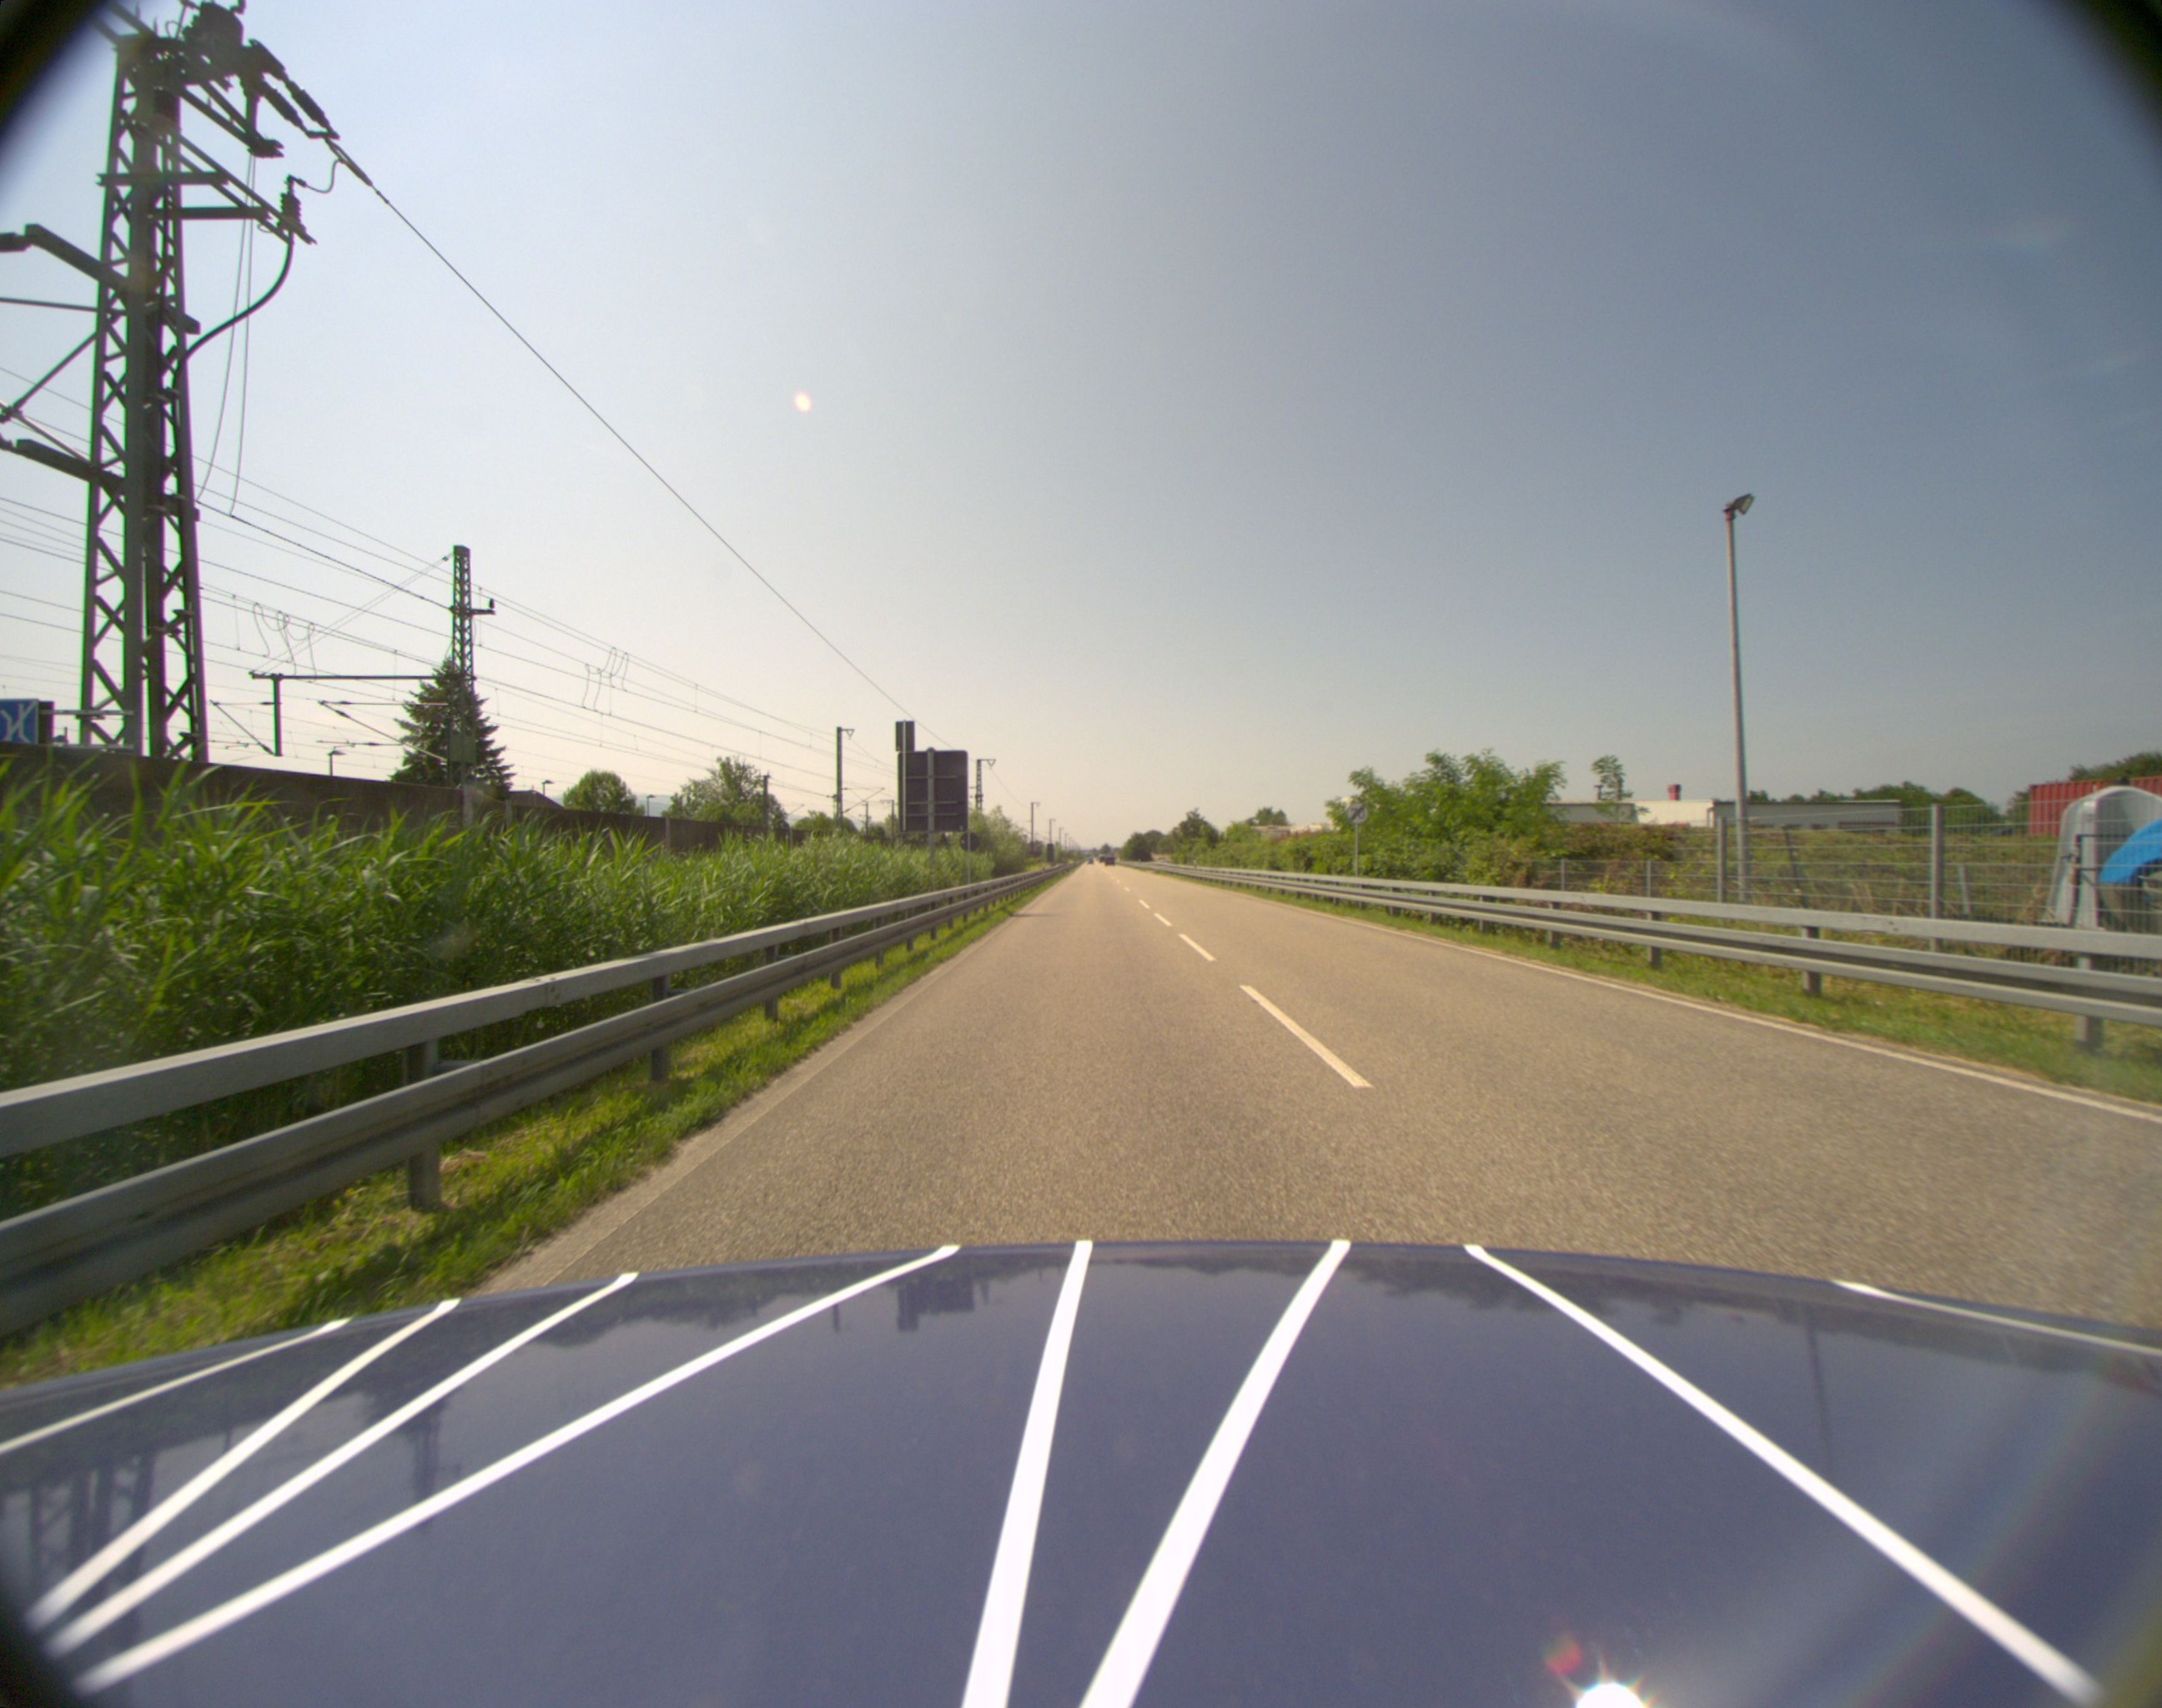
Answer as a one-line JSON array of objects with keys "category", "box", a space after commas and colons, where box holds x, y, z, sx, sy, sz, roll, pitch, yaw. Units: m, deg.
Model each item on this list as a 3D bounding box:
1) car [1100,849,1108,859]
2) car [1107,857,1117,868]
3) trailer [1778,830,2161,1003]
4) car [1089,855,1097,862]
[{"category": "car", "box": [6.917, -0.008, 229.837, 2.084, 2.945, 6.729, -2, 0, 1]}, {"category": "car", "box": [6.091, 1.664, 149.755, 1.898, 2.002, 5.369, -2, 0, 0]}, {"category": "trailer", "box": [13.617, 0.710, 9.967, 2.208, 1.992, 6.971, -2, 0, -4]}, {"category": "car", "box": [3.128, 1.206, 201.092, 1.999, 2.002, 3.999, -2, 0, -1]}]
